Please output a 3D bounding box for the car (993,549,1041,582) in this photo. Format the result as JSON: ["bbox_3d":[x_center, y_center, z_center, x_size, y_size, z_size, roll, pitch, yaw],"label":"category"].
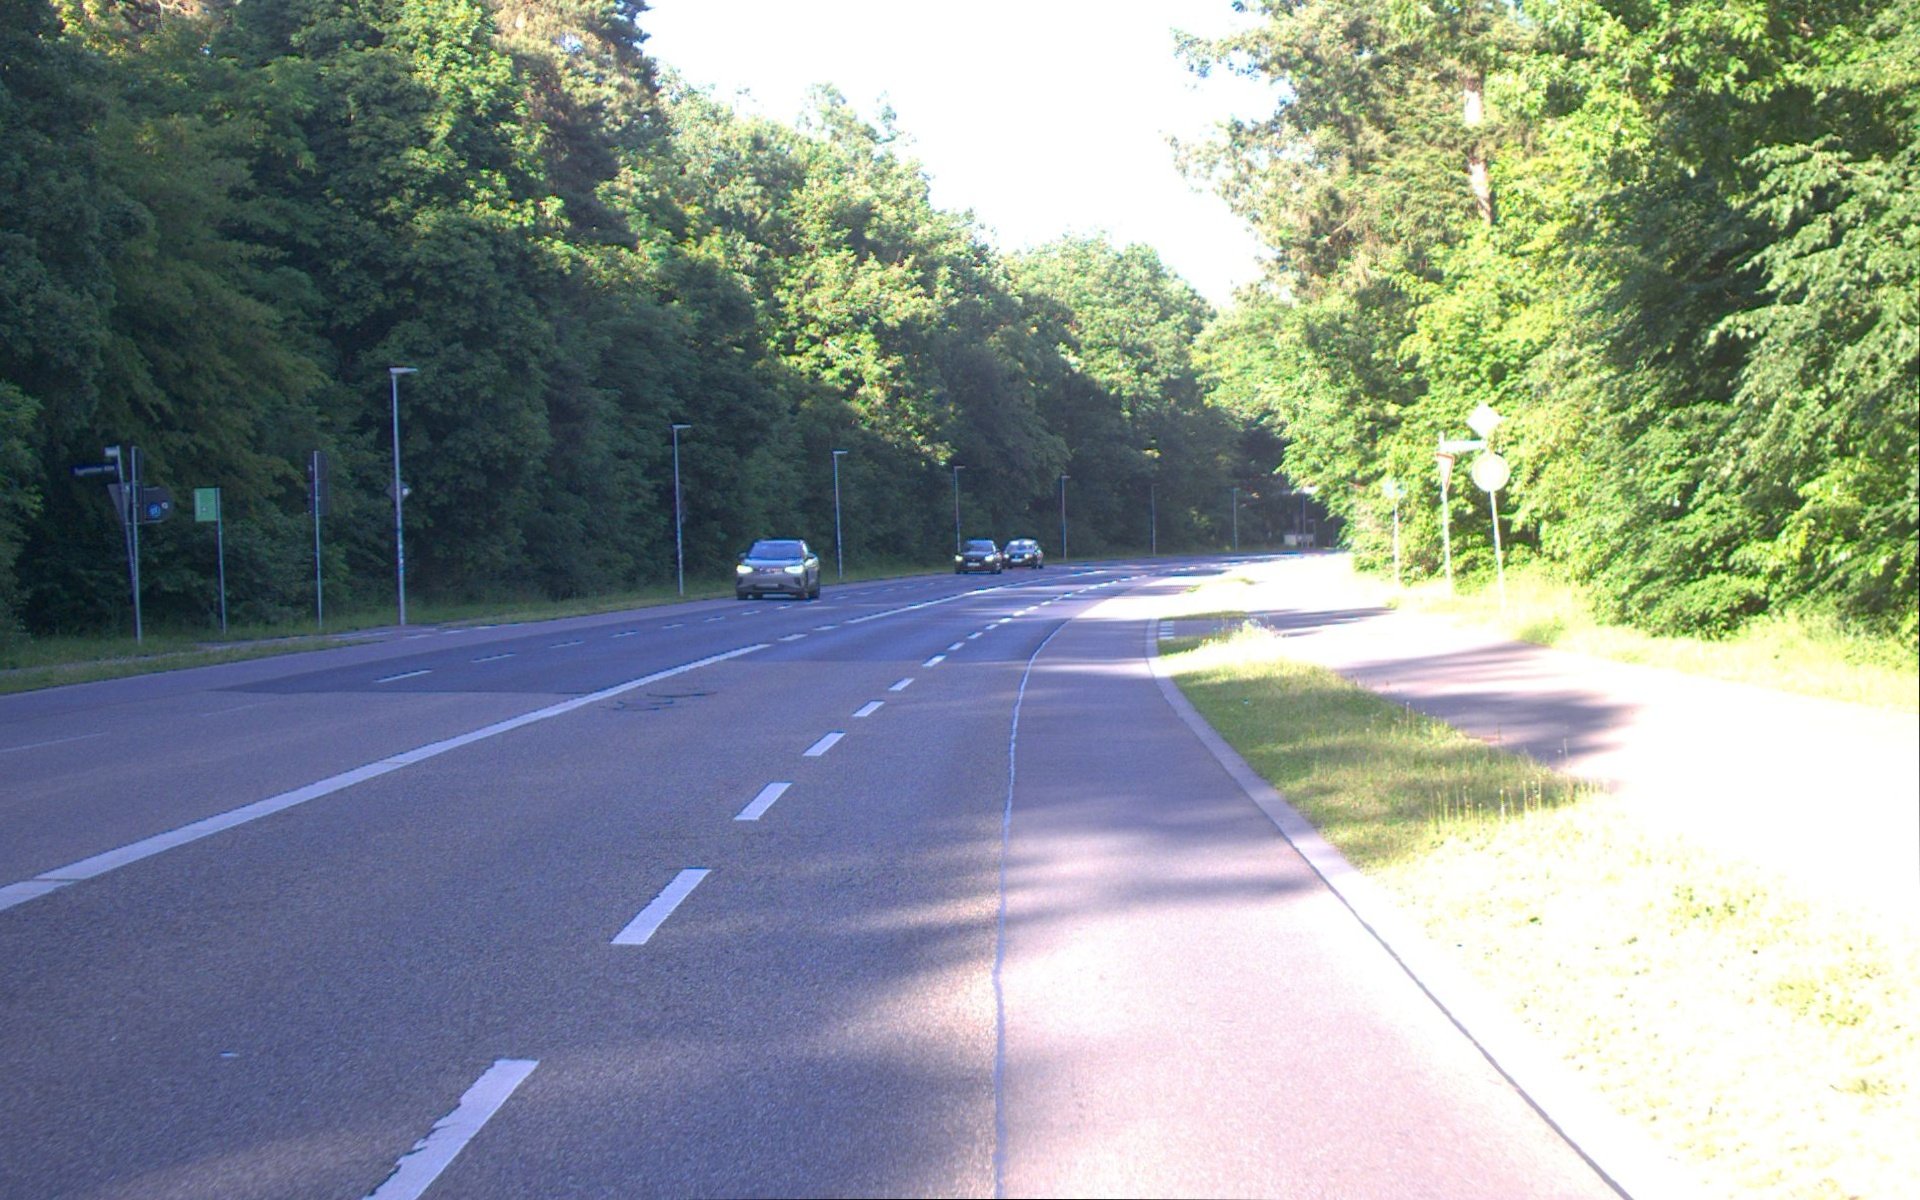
[{"bbox_3d":[2.779,-1.667,167.703,1.994,1.579,3.999,-1,0,6],"label":"car"}]

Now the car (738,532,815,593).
[{"bbox_3d":[-4.929,-1.000,92.662,1.993,1.579,4.000,-1,0,-2],"label":"car"}]

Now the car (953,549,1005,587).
[{"bbox_3d":[0.826,-1.360,147.977,1.994,1.579,3.999,-1,0,4],"label":"car"}]
